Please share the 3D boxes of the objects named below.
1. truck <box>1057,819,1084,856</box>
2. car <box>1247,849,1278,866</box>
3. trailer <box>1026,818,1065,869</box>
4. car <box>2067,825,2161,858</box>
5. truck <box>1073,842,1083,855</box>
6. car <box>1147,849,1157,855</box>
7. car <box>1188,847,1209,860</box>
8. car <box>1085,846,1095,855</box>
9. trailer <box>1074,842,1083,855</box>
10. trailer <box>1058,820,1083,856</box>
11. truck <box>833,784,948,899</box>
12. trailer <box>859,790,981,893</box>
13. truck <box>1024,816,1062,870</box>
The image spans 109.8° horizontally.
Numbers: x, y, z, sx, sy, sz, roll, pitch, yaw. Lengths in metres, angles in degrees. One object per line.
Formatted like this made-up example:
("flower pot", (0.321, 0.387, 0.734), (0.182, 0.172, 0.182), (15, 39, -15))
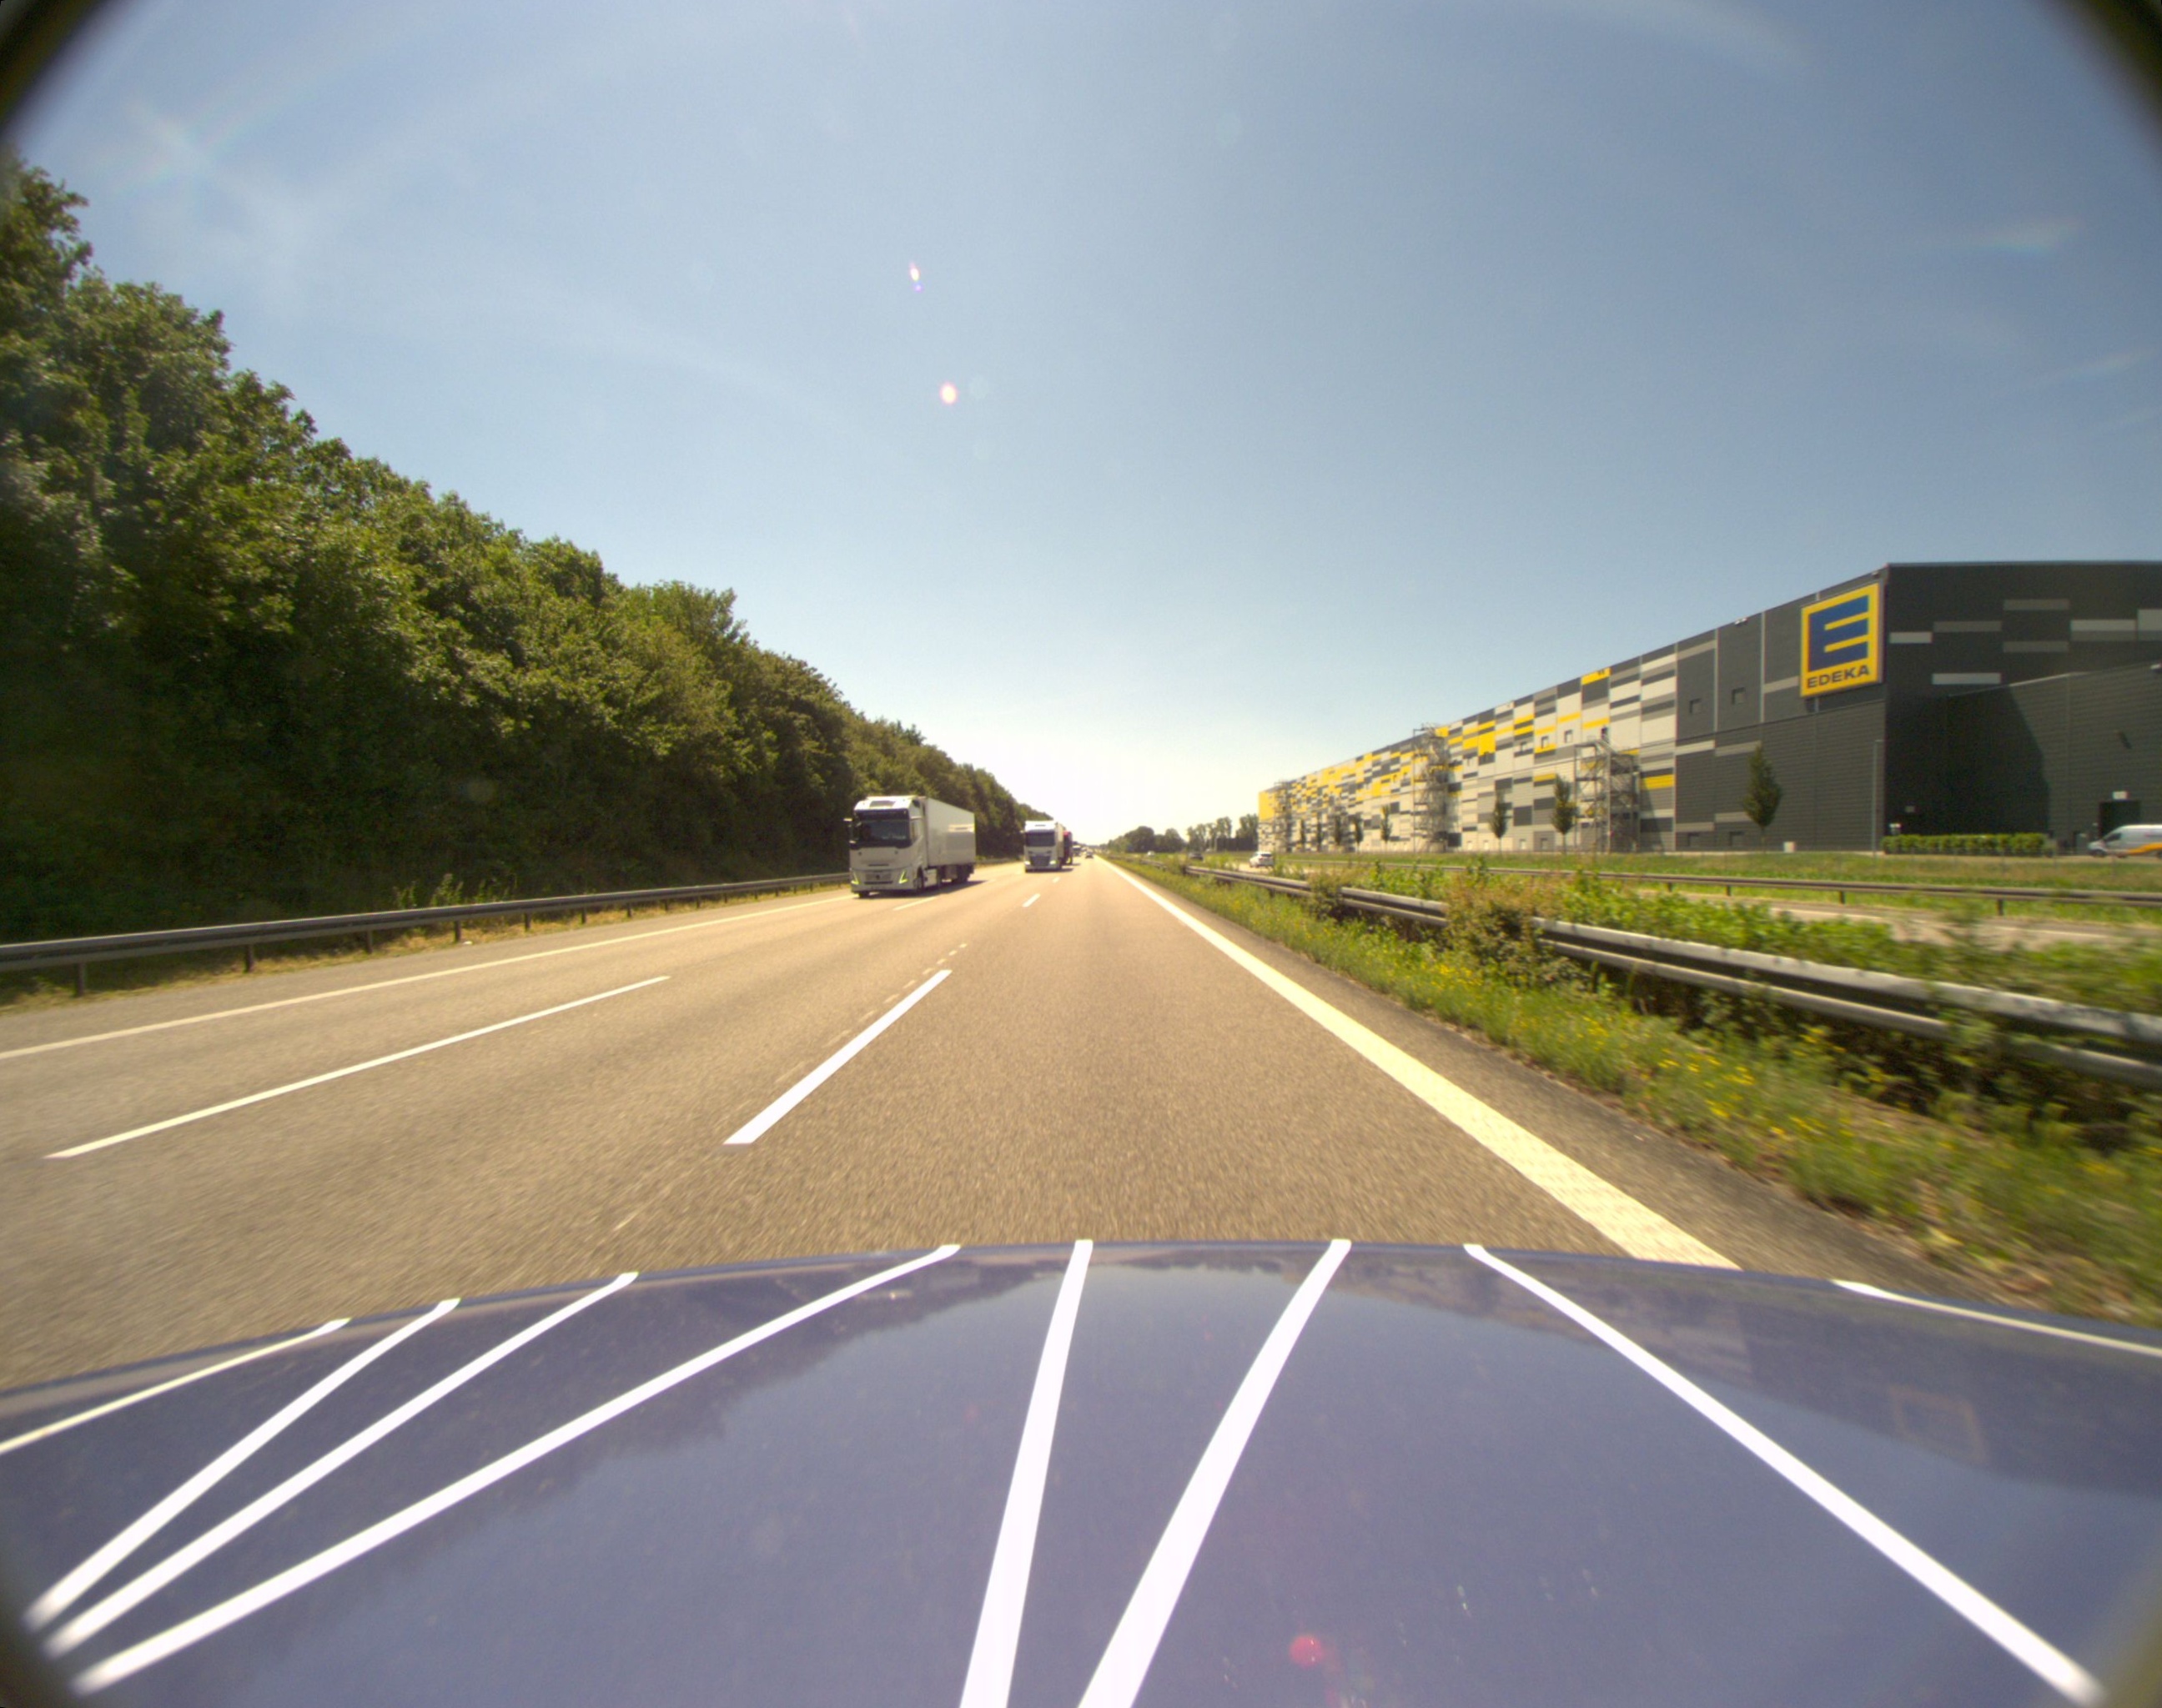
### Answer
("truck", (-1.216, -1.865, 88.431), (2.870, 4.046, 5.770), (-2, 1, -1))
("car", (17.992, 0.286, 75.481), (1.904, 1.584, 4.742), (0, 1, 0))
("trailer", (-2.967, -0.889, 67.634), (2.684, 4.046, 13.833), (-2, 0, 0))
("car", (79.294, -0.925, 57.118), (2.403, 2.442, 6.173), (0, 1, 1))
("truck", (-0.813, -1.755, 241.754), (2.998, 4.046, 5.770), (-2, 1, 0))
("car", (16.292, -0.497, 174.983), (1.812, 1.475, 4.416), (2, 1, 1))
("car", (15.240, -0.051, 99.164), (1.904, 1.523, 5.031), (2, 1, 0))
("car", (1.999, -0.791, 165.668), (2.073, 1.959, 5.109), (0, 0, -1))
("trailer", (-0.823, -1.832, 249.166), (3.005, 4.046, 13.833), (-2, 0, 0))
("trailer", (-1.339, -1.900, 95.464), (2.885, 4.046, 13.832), (-2, 0, -1))
("truck", (-7.631, -0.497, 31.349), (3.055, 4.191, 6.048), (-2, 1, 0))
("trailer", (-7.605, -0.560, 38.507), (3.047, 4.200, 13.834), (-2, 0, 0))
("truck", (-2.966, -0.828, 61.004), (2.684, 4.046, 6.048), (-2, 1, 0))
